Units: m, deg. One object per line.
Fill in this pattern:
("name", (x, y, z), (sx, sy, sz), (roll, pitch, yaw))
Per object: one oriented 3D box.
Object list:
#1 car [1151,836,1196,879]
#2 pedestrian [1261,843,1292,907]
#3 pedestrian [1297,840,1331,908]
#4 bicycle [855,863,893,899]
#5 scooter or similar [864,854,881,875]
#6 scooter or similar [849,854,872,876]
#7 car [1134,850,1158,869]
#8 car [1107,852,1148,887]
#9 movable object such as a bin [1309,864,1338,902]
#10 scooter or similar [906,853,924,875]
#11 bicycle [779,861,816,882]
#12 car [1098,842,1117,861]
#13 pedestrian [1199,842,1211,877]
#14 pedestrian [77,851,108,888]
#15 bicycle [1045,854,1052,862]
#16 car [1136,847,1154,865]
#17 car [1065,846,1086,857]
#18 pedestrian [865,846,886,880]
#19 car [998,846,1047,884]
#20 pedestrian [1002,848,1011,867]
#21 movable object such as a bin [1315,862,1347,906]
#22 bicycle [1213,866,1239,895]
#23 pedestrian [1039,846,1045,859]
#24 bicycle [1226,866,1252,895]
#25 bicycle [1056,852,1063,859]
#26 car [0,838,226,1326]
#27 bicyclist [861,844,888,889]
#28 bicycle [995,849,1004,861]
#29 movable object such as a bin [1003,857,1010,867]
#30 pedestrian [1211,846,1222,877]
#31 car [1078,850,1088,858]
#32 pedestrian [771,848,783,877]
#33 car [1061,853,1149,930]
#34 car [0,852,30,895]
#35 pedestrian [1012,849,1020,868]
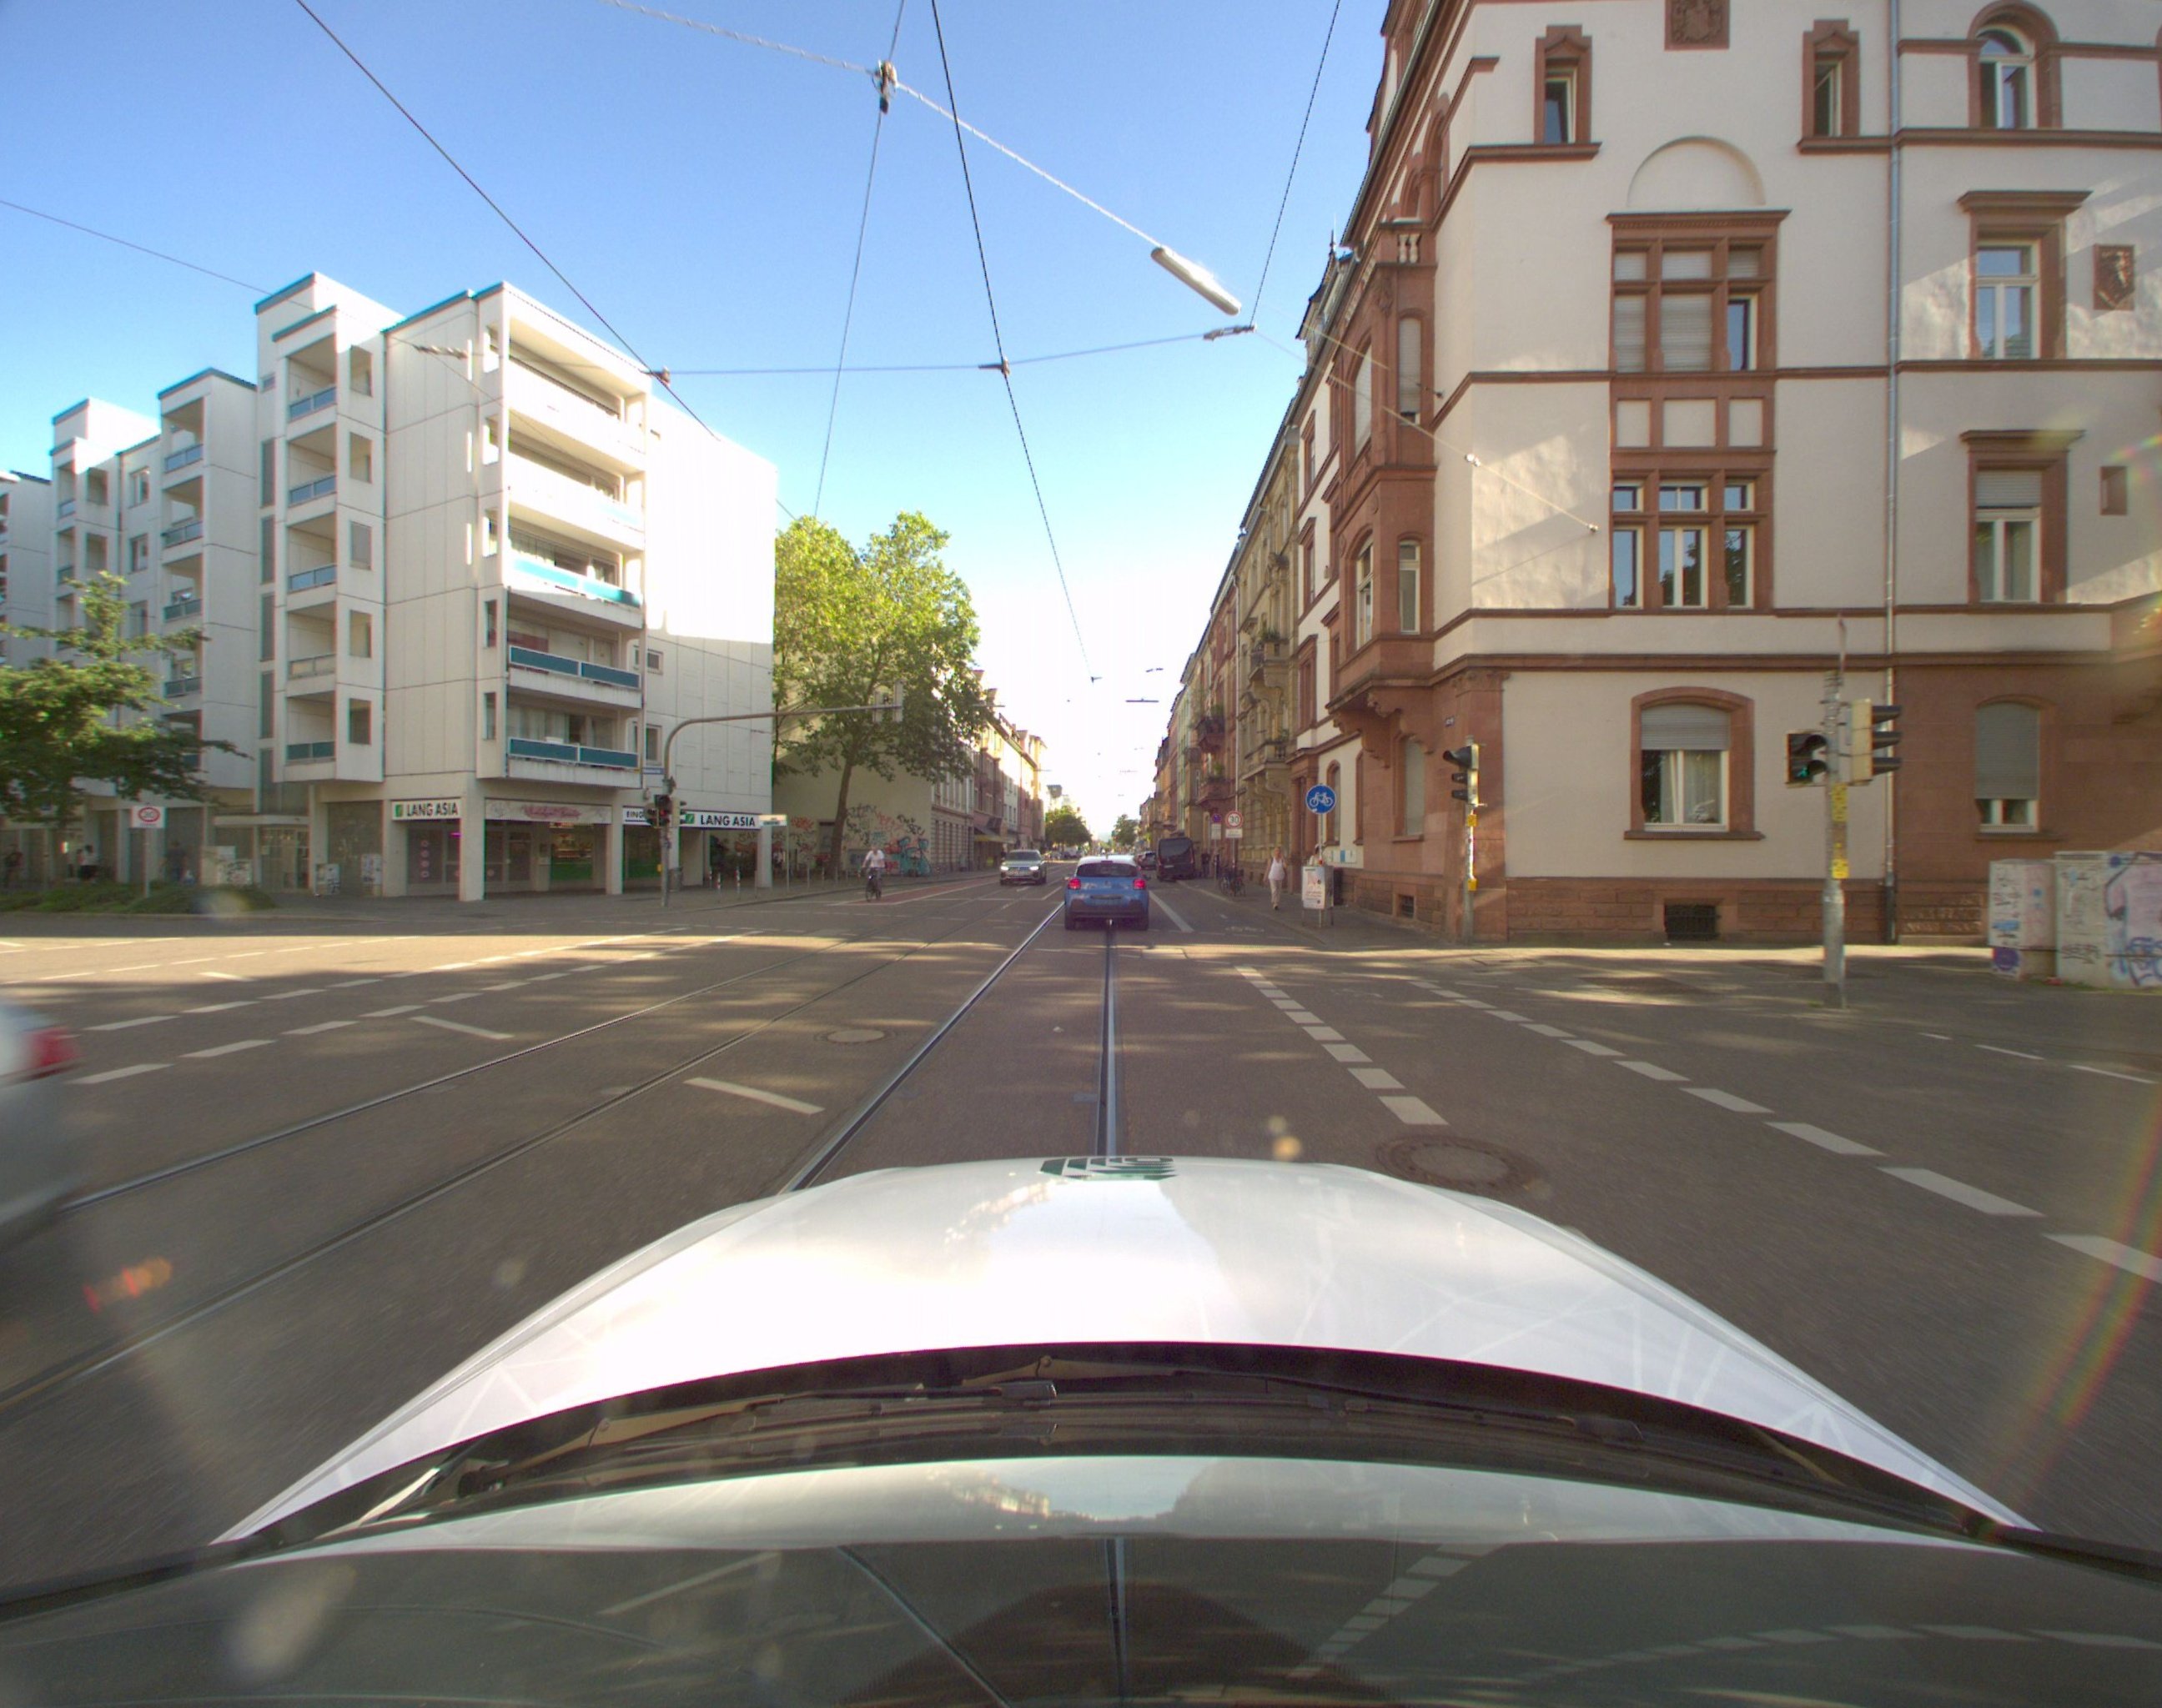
("car", (5.487, 0.175, 49.186), (2.263, 2.436, 5.722), (0, 0, 2))
("pedestrian", (5.235, 0.549, 21.848), (0.626, 1.701, 0.681), (0, 0, -7))
("pedestrian", (6.204, 0.530, 21.721), (0.703, 1.782, 0.673), (-1, 0, 0))
("bicycle", (-6.880, 0.865, 27.144), (0.690, 1.120, 2.084), (0, 0, 1))
("scooter or similar", (-12.527, 0.640, 48.920), (0.937, 1.222, 0.765), (0, 0, -11))
("scooter or similar", (-12.961, 0.649, 47.975), (1.228, 1.258, 0.765), (0, 0, -11))
("car", (6.080, 0.513, 76.392), (1.998, 1.672, 4.808), (0, 0, 2))
("car", (2.016, 0.663, 36.309), (1.661, 1.478, 4.001), (0, 0, 1))
("movable object such as a bin", (7.061, 0.846, 23.739), (0.663, 1.077, 0.571), (-1, 0, 0))
("scooter or similar", (-10.071, 0.581, 49.399), (0.785, 1.271, 1.075), (3, 2, 1))
("bicycle", (-14.476, 0.879, 41.622), (1.898, 1.034, 0.669), (0, 0, 28))
("car", (2.928, -0.294, 90.359), (1.986, 2.013, 4.001), (0, 0, 1))
("pedestrian", (7.184, 0.316, 47.158), (0.583, 2.013, 0.823), (0, 0, 1))
("pedestrian", (-40.293, 0.619, 33.195), (0.734, 1.494, 0.722), (0, 0, 32))
("bicycle", (-5.566, 0.710, 141.061), (1.118, 1.319, 3.639), (0, 0, -4))
("car", (7.906, 0.244, 100.450), (1.998, 1.671, 4.397), (2, 7, 2))
("car", (-1.385, -0.558, 188.725), (4.328, 2.581, 2.192), (-1, 0, -24))
("pedestrian", (-10.977, 0.480, 43.427), (0.678, 1.765, 1.029), (0, 0, 12))
("car", (-2.782, 0.526, 39.847), (1.987, 1.744, 4.563), (0, 0, 1))
("pedestrian", (-6.915, 0.352, 75.444), (0.708, 1.764, 0.570), (0, 0, 0))
("movable object such as a bin", (7.090, 0.847, 23.122), (0.663, 1.153, 0.594), (-5, 1, 0))
("bicycle", (5.085, 0.916, 28.658), (0.430, 0.947, 1.760), (0, 0, -5))
("pedestrian", (-5.088, -0.167, 106.565), (0.683, 1.638, 0.675), (0, 0, 0))
("bicycle", (5.548, 0.917, 28.714), (0.430, 0.947, 1.760), (0, 0, -5))
("bicycle", (-3.712, 0.225, 140.923), (1.118, 1.146, 3.639), (0, 0, -4))
("car", (-4.344, 0.706, 0.997), (1.978, 1.502, 4.309), (0, 0, 1))
("bicyclist", (-6.871, 0.414, 27.079), (0.680, 1.483, 0.779), (0, 0, 1))
("bicycle", (-7.704, 0.112, 76.863), (0.621, 1.159, 2.057), (0, 0, -11))
("movable object such as a bin", (-6.977, 0.766, 76.241), (0.608, 0.914, 0.695), (0, 0, 1))
("pedestrian", (7.714, 0.417, 46.413), (0.551, 1.782, 0.606), (0, 0, 0))
("car", (0.341, -0.062, 167.760), (1.986, 1.651, 4.001), (0, 0, 1))
("pedestrian", (-17.862, 0.499, 47.845), (0.454, 1.718, 0.547), (0, 0, 1))
("car", (0.629, 0.726, 17.773), (1.666, 1.477, 4.006), (0, 0, 5))
("car", (-39.089, 0.707, 27.605), (1.594, 1.486, 4.003), (2, 1, 3))
("pedestrian", (-6.014, 0.426, 75.553), (0.709, 1.764, 0.653), (0, 0, -7))
